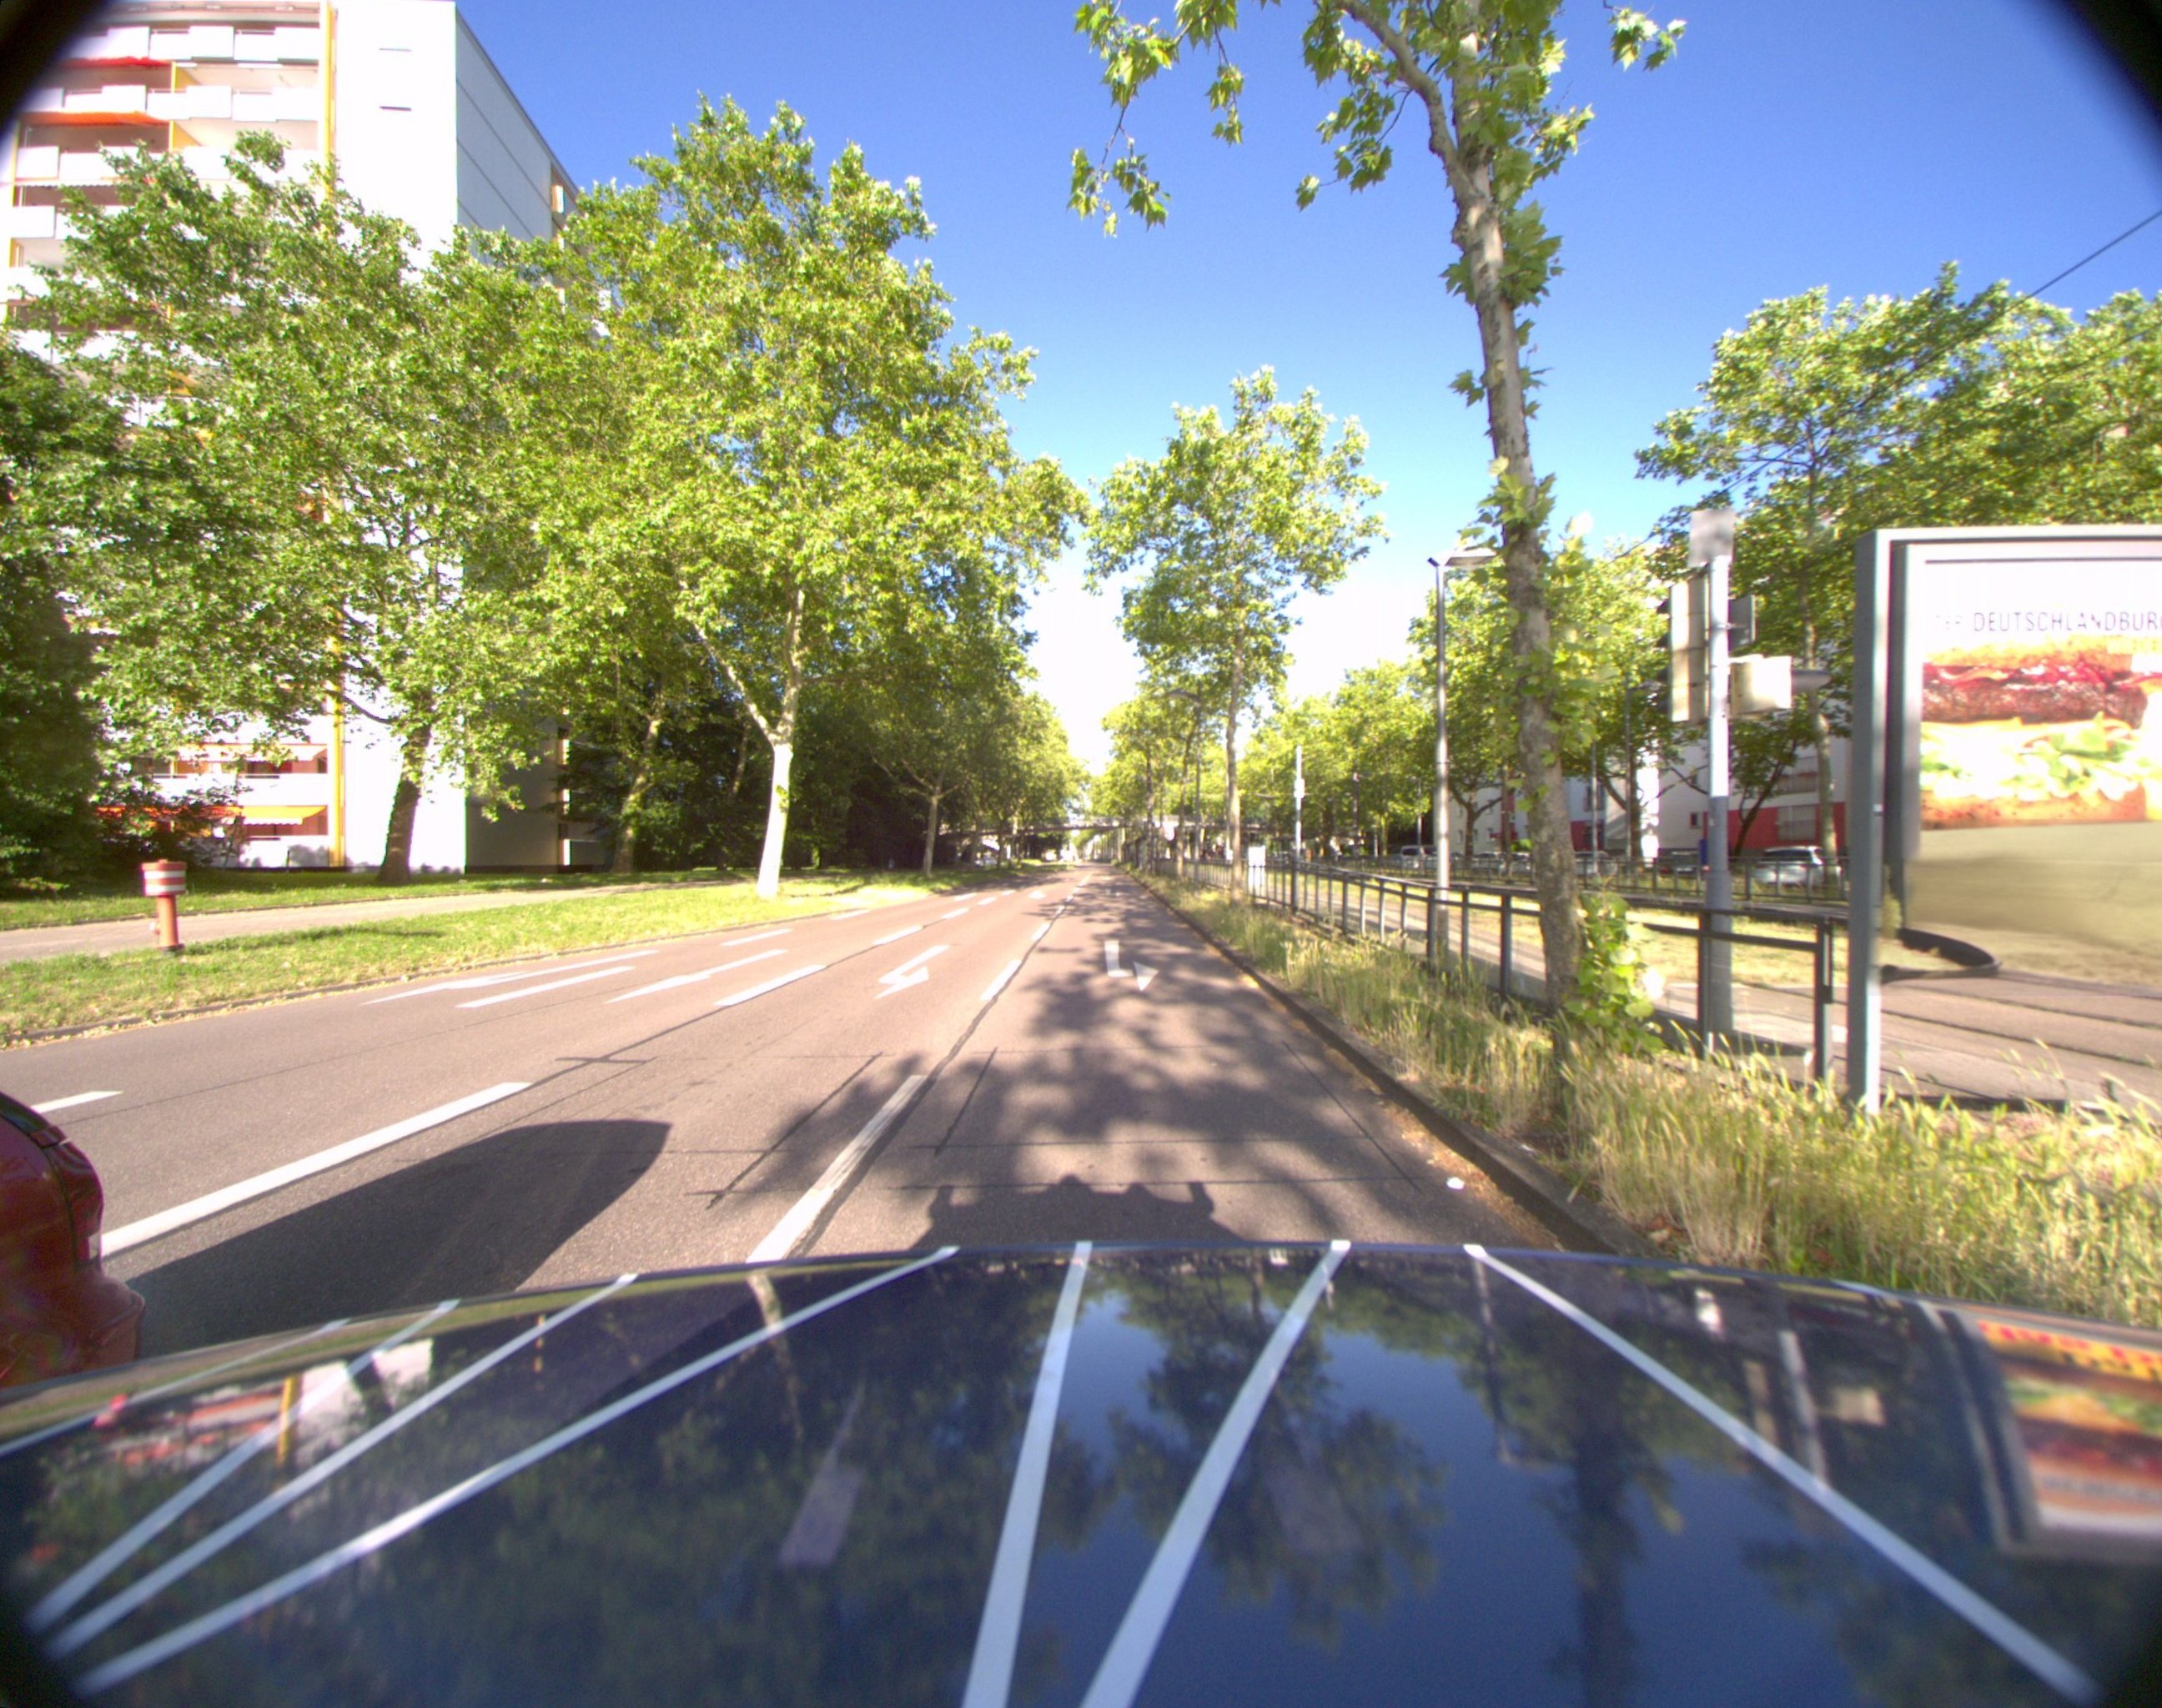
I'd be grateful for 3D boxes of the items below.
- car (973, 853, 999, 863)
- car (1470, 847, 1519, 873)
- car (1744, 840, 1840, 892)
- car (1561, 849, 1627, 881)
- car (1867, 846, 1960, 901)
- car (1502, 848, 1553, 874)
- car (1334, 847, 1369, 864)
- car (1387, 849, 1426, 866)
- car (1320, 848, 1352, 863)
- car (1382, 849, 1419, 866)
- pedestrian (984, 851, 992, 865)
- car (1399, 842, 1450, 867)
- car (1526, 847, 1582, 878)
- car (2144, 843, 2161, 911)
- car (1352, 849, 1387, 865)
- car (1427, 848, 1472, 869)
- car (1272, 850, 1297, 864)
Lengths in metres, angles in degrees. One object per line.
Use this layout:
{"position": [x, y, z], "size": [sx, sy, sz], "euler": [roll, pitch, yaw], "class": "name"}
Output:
{"position": [-15.153, 0.654, 121.455], "size": [3.999, 1.465, 1.797], "euler": [-3, 1, -8], "class": "car"}
{"position": [25.886, 0.379, 47.494], "size": [3.493, 1.417, 1.558], "euler": [-3, -1, -42], "class": "car"}
{"position": [25.224, 0.405, 26.923], "size": [4.007, 1.586, 1.810], "euler": [-3, 1, -37], "class": "car"}
{"position": [25.519, 0.520, 37.762], "size": [3.890, 1.406, 1.486], "euler": [-3, 1, -37], "class": "car"}
{"position": [25.239, 0.542, 22.995], "size": [3.770, 1.420, 1.555], "euler": [-3, 1, -37], "class": "car"}
{"position": [26.247, 0.416, 44.606], "size": [3.493, 1.321, 1.476], "euler": [-3, 0, -41], "class": "car"}
{"position": [26.134, 0.121, 73.452], "size": [3.835, 1.561, 1.597], "euler": [-1, 1, -43], "class": "car"}
{"position": [25.851, 0.270, 60.325], "size": [3.494, 1.336, 1.476], "euler": [-1, 1, -41], "class": "car"}
{"position": [26.716, 0.133, 79.624], "size": [3.742, 1.517, 1.597], "euler": [-1, 1, -43], "class": "car"}
{"position": [26.958, 0.289, 64.021], "size": [3.494, 1.293, 1.476], "euler": [-1, 1, -41], "class": "car"}
{"position": [-13.742, 0.638, 111.782], "size": [0.918, 2.002, 0.962], "euler": [-2, 1, 4], "class": "pedestrian"}
{"position": [25.721, 0.040, 56.873], "size": [4.056, 1.802, 1.864], "euler": [-1, 1, -40], "class": "car"}
{"position": [25.825, 0.428, 41.449], "size": [3.402, 1.499, 1.461], "euler": [-3, 1, -37], "class": "car"}
{"position": [24.604, 0.535, 16.207], "size": [4.007, 1.479, 1.689], "euler": [-3, 1, -44], "class": "car"}
{"position": [26.514, 0.266, 69.755], "size": [3.494, 1.312, 1.476], "euler": [-1, 1, -41], "class": "car"}
{"position": [26.131, 0.313, 53.894], "size": [3.494, 1.395, 1.623], "euler": [-1, 1, -41], "class": "car"}
{"position": [21.640, 0.301, 80.979], "size": [1.810, 1.514, 4.332], "euler": [-1, 0, 5], "class": "car"}
